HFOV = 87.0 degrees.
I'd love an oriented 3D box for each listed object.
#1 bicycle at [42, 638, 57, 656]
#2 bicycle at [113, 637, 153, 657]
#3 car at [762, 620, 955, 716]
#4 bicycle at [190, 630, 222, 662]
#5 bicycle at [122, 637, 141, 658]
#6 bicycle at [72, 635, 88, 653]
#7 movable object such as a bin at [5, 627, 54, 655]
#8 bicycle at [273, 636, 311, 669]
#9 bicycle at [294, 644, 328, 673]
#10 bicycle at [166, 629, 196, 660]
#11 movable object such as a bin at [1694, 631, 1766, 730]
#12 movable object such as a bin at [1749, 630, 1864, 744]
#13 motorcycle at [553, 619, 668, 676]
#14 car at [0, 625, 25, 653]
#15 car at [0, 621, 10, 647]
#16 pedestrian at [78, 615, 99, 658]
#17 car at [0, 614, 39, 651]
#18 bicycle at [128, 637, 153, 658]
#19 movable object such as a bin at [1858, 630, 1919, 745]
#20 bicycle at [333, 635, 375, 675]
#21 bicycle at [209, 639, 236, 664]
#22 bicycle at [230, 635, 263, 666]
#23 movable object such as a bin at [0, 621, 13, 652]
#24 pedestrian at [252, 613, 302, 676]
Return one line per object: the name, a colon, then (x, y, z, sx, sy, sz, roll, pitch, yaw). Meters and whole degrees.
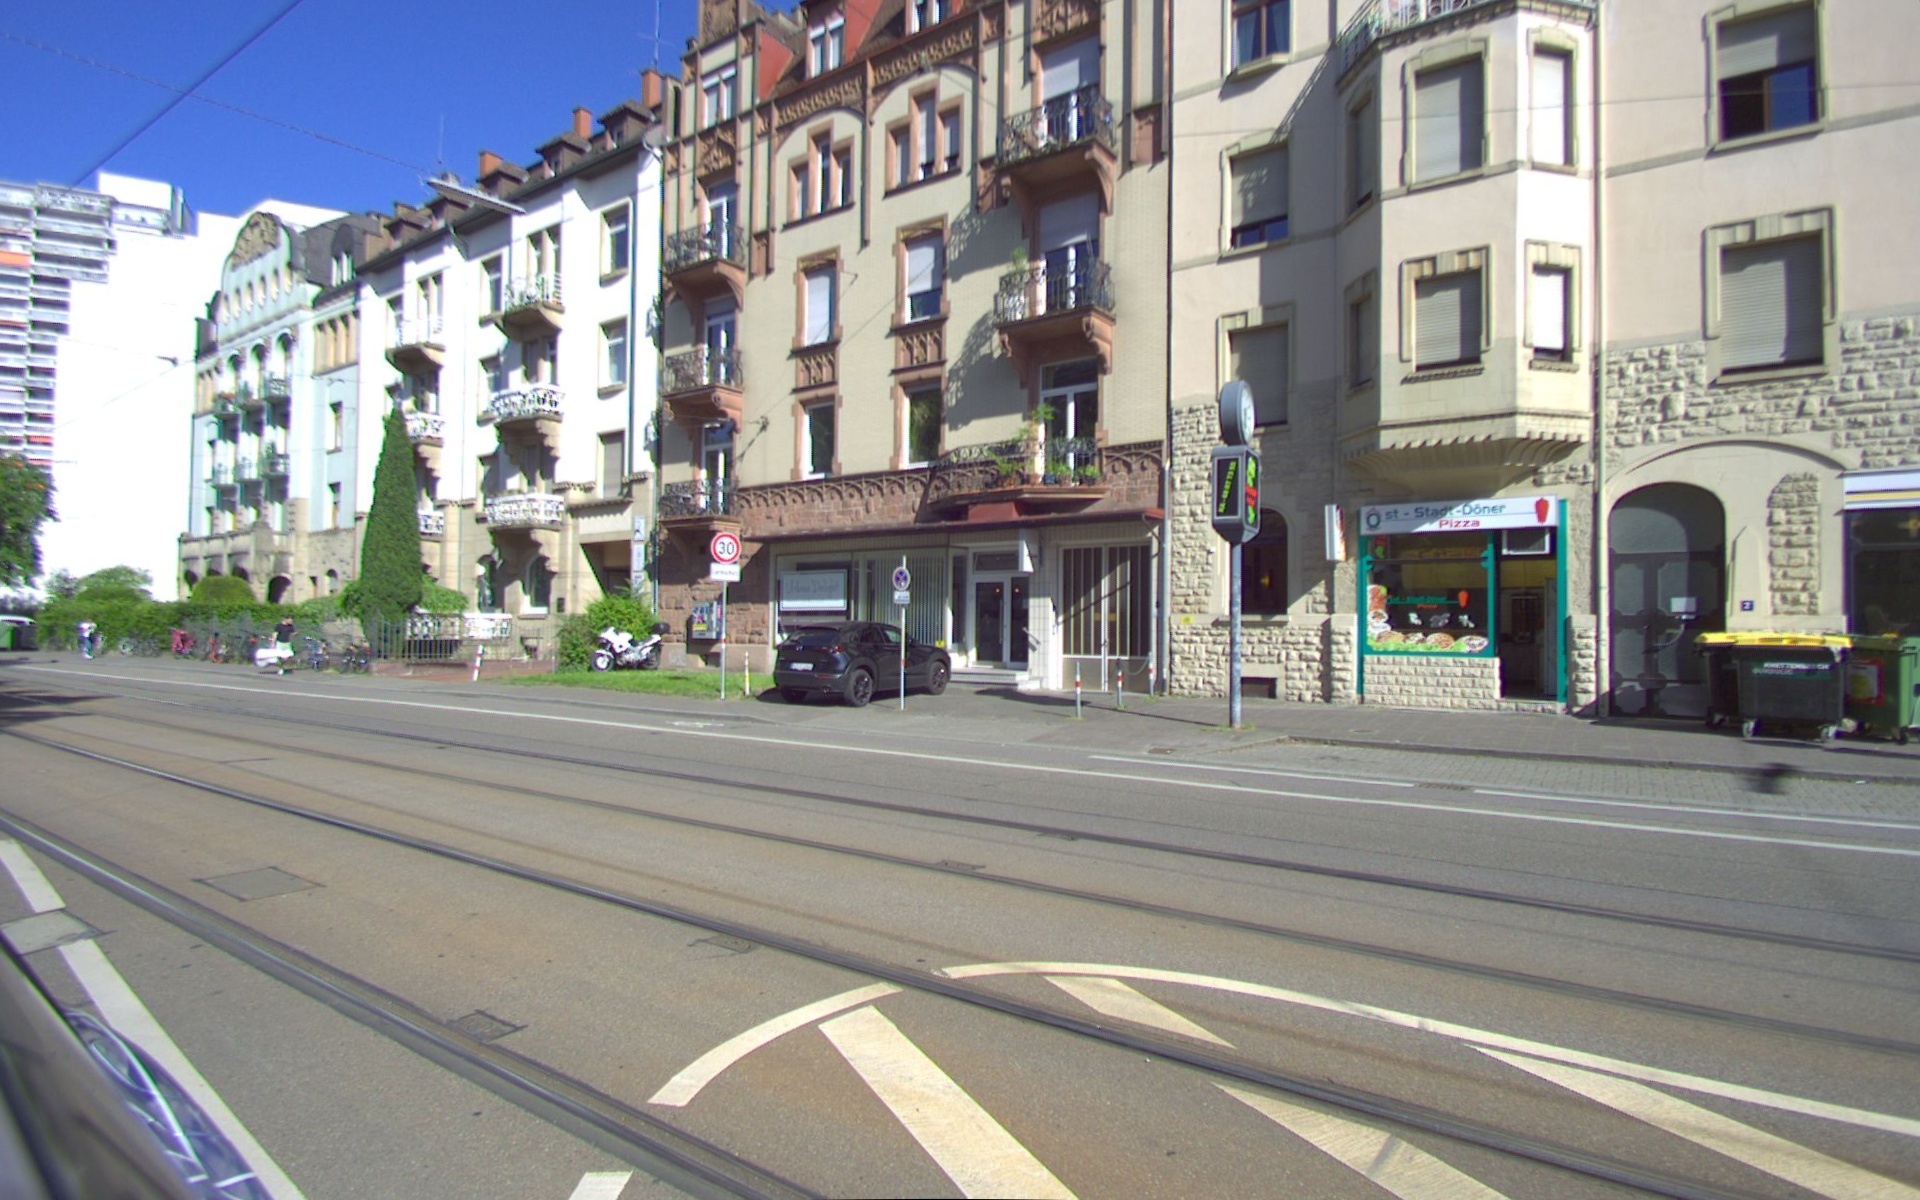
bicycle: (-41.719, 2.144, 46.351, 1.261, 0.767, 0.293, 0, -1, 38)
bicycle: (-34.435, 1.970, 42.164, 0.297, 0.799, 1.247, 0, -1, 38)
car: (-1.864, 1.238, 19.819, 1.766, 1.514, 3.958, 0, 1, 31)
bicycle: (-25.836, 1.559, 34.660, 1.814, 1.031, 0.400, 0, -1, 38)
bicycle: (-32.446, 1.844, 39.630, 1.261, 0.767, 0.335, 0, -1, 38)
bicycle: (-37.886, 1.893, 43.555, 1.261, 0.767, 0.293, 0, -1, 38)
movable object such as a bin: (-46.760, 2.054, 50.874, 2.093, 1.326, 1.483, 0, -1, 38)
bicycle: (-20.199, 1.575, 30.591, 1.747, 0.949, 0.400, 0, -1, 38)
bicycle: (-18.801, 1.688, 29.296, 1.650, 0.767, 0.314, 0, -1, 39)
bicycle: (-27.708, 1.581, 35.994, 1.814, 1.031, 0.400, 0, -1, 38)
movable object such as a bin: (10.861, 1.107, 14.272, 0.844, 1.335, 0.658, 1, -1, -41)
movable object such as a bin: (11.047, 1.095, 13.219, 0.844, 1.391, 1.029, 1, -1, -41)
motorcycle: (-9.453, 1.247, 27.553, 0.822, 1.467, 3.057, 0, -1, 35)
car: (-51.565, 2.066, 53.537, 1.450, 1.446, 2.736, 0, -1, 21)
car: (-54.255, 1.861, 55.514, 1.450, 1.446, 2.736, 0, -1, 21)
pedestrian: (-33.891, 1.418, 39.357, 0.658, 1.641, 0.470, 0, -1, 38)
car: (-49.169, 1.665, 51.743, 1.437, 1.787, 3.191, 1, -4, -8)
bicycle: (-31.263, 1.803, 38.617, 1.580, 0.767, 0.400, 0, -1, 38)
movable object such as a bin: (12.247, 1.090, 12.801, 1.011, 1.391, 0.859, 1, -1, -7)
bicycle: (-16.872, 1.518, 28.145, 1.747, 1.047, 0.400, 0, -1, 38)
bicycle: (-24.458, 1.698, 33.570, 1.541, 0.767, 0.314, 0, -1, 38)
bicycle: (-22.976, 1.610, 32.569, 1.647, 0.949, 0.400, 0, -1, 38)
movable object such as a bin: (-47.014, 1.758, 48.938, 2.093, 1.443, 1.494, 0, -1, 38)
pedestrian: (-18.944, 1.224, 28.068, 0.869, 1.640, 0.859, 0, 3, 38)
